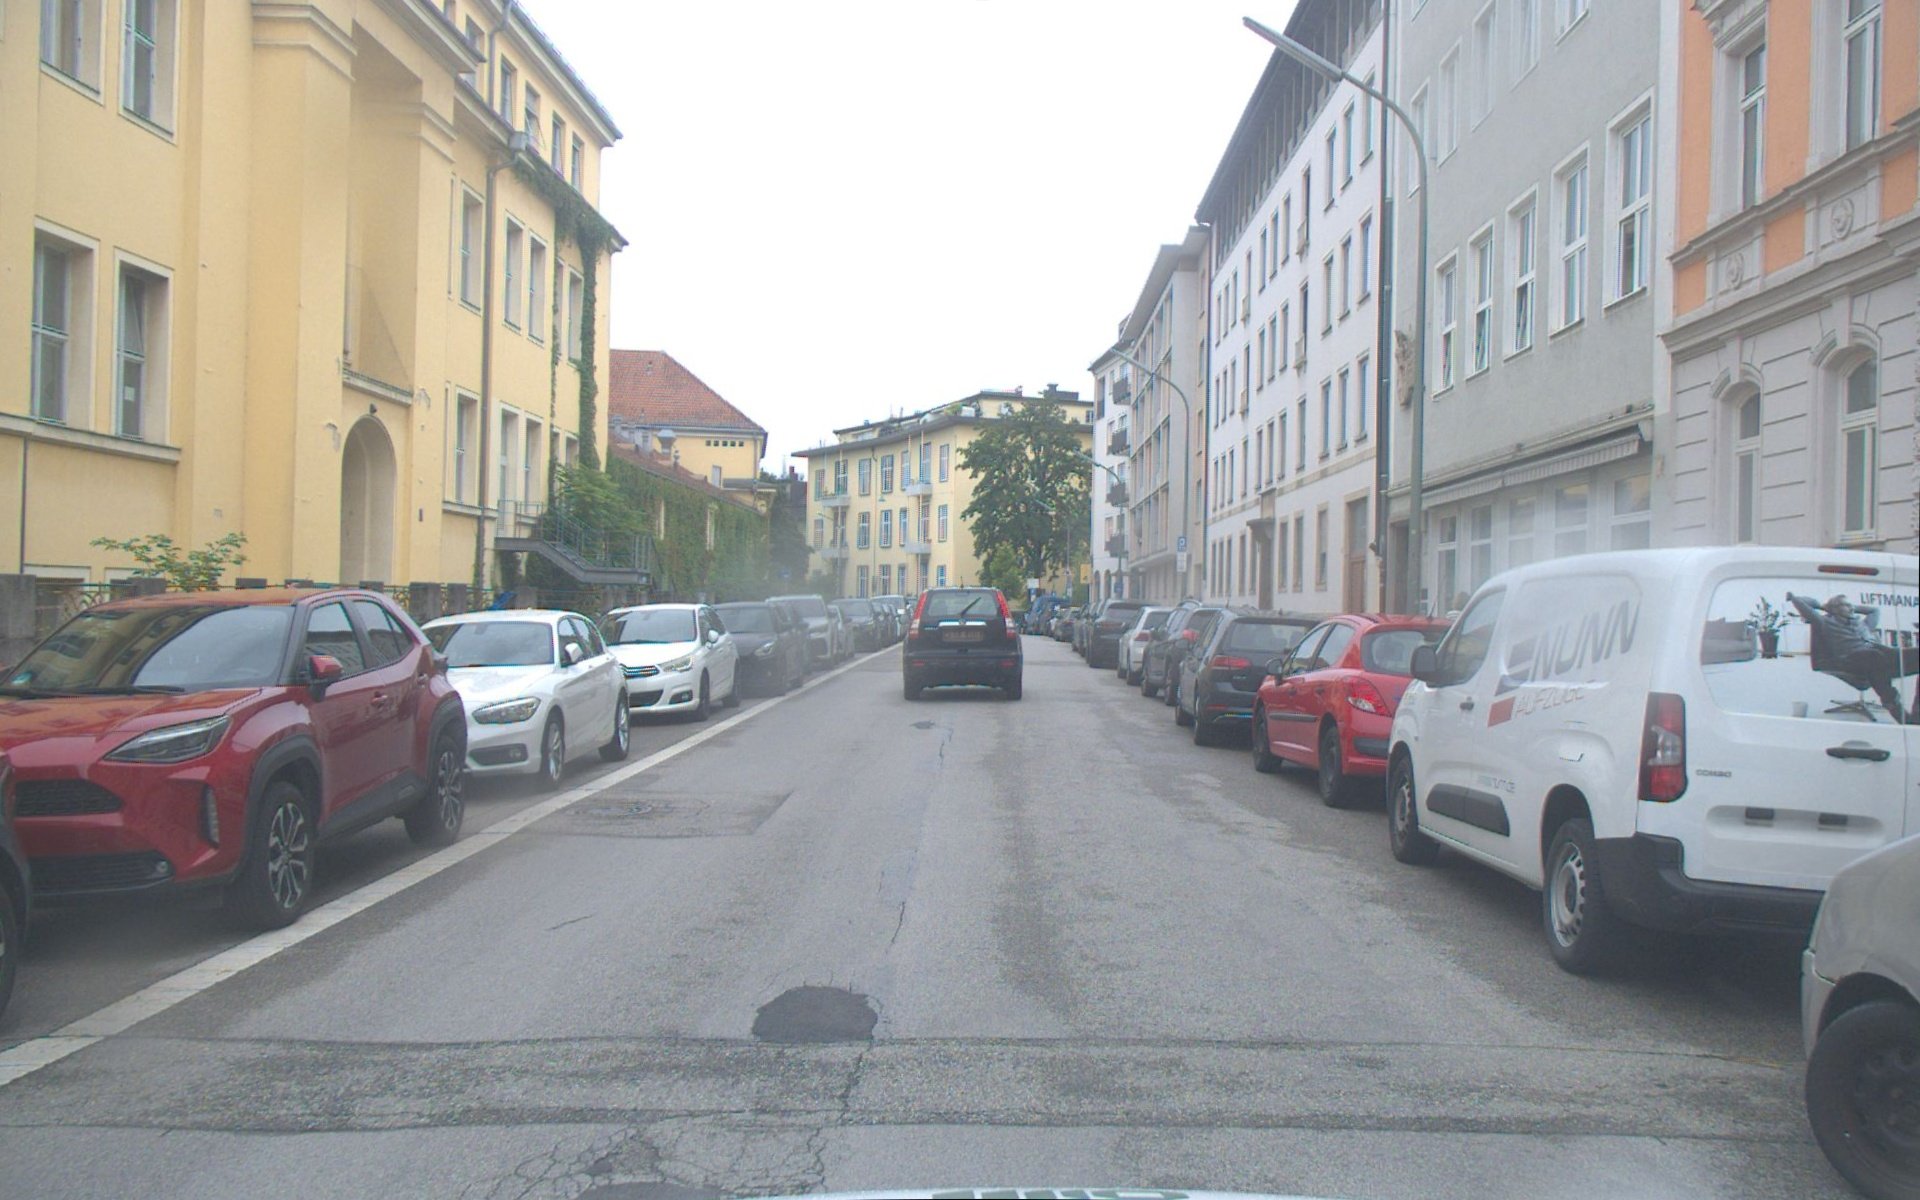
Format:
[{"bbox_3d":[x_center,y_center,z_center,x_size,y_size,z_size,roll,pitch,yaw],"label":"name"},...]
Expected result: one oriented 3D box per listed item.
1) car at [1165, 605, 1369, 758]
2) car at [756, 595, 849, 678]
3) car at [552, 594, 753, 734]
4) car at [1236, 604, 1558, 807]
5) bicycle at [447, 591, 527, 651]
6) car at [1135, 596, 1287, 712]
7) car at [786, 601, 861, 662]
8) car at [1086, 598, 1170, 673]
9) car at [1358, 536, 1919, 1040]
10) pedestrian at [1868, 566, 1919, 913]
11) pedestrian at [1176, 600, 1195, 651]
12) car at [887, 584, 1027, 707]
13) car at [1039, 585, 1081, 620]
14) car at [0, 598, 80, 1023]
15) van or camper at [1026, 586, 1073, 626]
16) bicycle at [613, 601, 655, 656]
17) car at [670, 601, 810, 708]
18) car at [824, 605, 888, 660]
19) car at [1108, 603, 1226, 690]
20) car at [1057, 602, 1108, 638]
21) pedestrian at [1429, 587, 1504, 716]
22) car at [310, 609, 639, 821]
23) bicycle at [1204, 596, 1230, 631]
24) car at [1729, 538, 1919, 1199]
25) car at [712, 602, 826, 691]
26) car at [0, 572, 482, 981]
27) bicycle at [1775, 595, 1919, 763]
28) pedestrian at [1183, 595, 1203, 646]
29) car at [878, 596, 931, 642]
[{"bbox_3d":[3.394,0.842,18.959,1.657,1.476,4.084,2,0,2],"label":"car"},{"bbox_3d":[-3.467,0.756,37.045,1.646,1.662,4.356,-3,0,-1],"label":"car"},{"bbox_3d":[-3.930,0.760,21.808,1.687,1.554,4.088,-3,0,2],"label":"car"},{"bbox_3d":[3.546,0.769,14.199,1.566,1.476,4.300,0,0,-1],"label":"car"},{"bbox_3d":[-10.243,0.455,35.830,1.525,1.209,0.578,3,0,0],"label":"bicycle"},{"bbox_3d":[3.846,0.781,25.965,1.658,1.611,4.082,2,0,-1],"label":"car"},{"bbox_3d":[-3.480,0.772,42.662,1.645,1.451,3.894,0,1,-1],"label":"car"},{"bbox_3d":[3.861,0.785,38.551,1.741,1.612,4.331,0,0,3],"label":"car"},{"bbox_3d":[3.535,0.697,8.555,1.803,1.817,4.896,3,0,1],"label":"car"},{"bbox_3d":[5.098,0.678,8.199,0.843,1.691,0.647,0,0,1],"label":"pedestrian"},{"bbox_3d":[7.203,0.808,52.766,0.520,1.612,0.560,1,0,1],"label":"pedestrian"},{"bbox_3d":[0.048,0.649,25.845,1.954,1.724,4.381,1,0,3],"label":"car"},{"bbox_3d":[5.516,0.125,91.589,1.924,1.848,4.935,0,1,-1],"label":"car"},{"bbox_3d":[-4.005,0.759,4.076,1.642,1.429,3.988,-3,0,-3],"label":"car"},{"bbox_3d":[5.195,0.361,97.136,2.020,2.270,5.433,1,0,-5],"label":"van or camper"},{"bbox_3d":[-7.540,0.650,38.323,0.565,1.209,1.562,3,0,2],"label":"bicycle"},{"bbox_3d":[-3.534,0.828,27.228,1.645,1.521,3.986,-3,0,1],"label":"car"},{"bbox_3d":[-3.132,0.955,50.550,1.745,1.565,4.195,0,1,-1],"label":"car"},{"bbox_3d":[3.931,0.841,31.935,1.658,1.489,4.082,2,0,-1],"label":"car"},{"bbox_3d":[5.157,0.827,69.940,1.759,1.445,4.482,-1,0,0],"label":"car"},{"bbox_3d":[6.656,0.660,21.777,0.719,1.654,0.828,-1,0,2],"label":"pedestrian"},{"bbox_3d":[-3.959,0.855,14.173,1.641,1.422,3.996,-3,0,-1],"label":"car"},{"bbox_3d":[9.069,0.472,58.457,0.645,1.183,2.028,-1,0,1],"label":"bicycle"},{"bbox_3d":[3.324,0.706,3.314,1.573,1.671,3.627,2,0,-6],"label":"car"},{"bbox_3d":[-3.658,0.857,32.328,1.645,1.531,3.974,-3,0,1],"label":"car"},{"bbox_3d":[-3.869,0.716,8.632,1.641,1.594,3.995,-3,0,-2],"label":"car"},{"bbox_3d":[7.530,0.598,13.670,0.637,1.203,2.097,-2,2,3],"label":"bicycle"},{"bbox_3d":[7.756,0.672,55.120,0.584,1.683,0.630,1,0,1],"label":"pedestrian"},{"bbox_3d":[-2.400,0.795,72.156,1.952,1.908,4.760,0,0,2],"label":"car"}]
